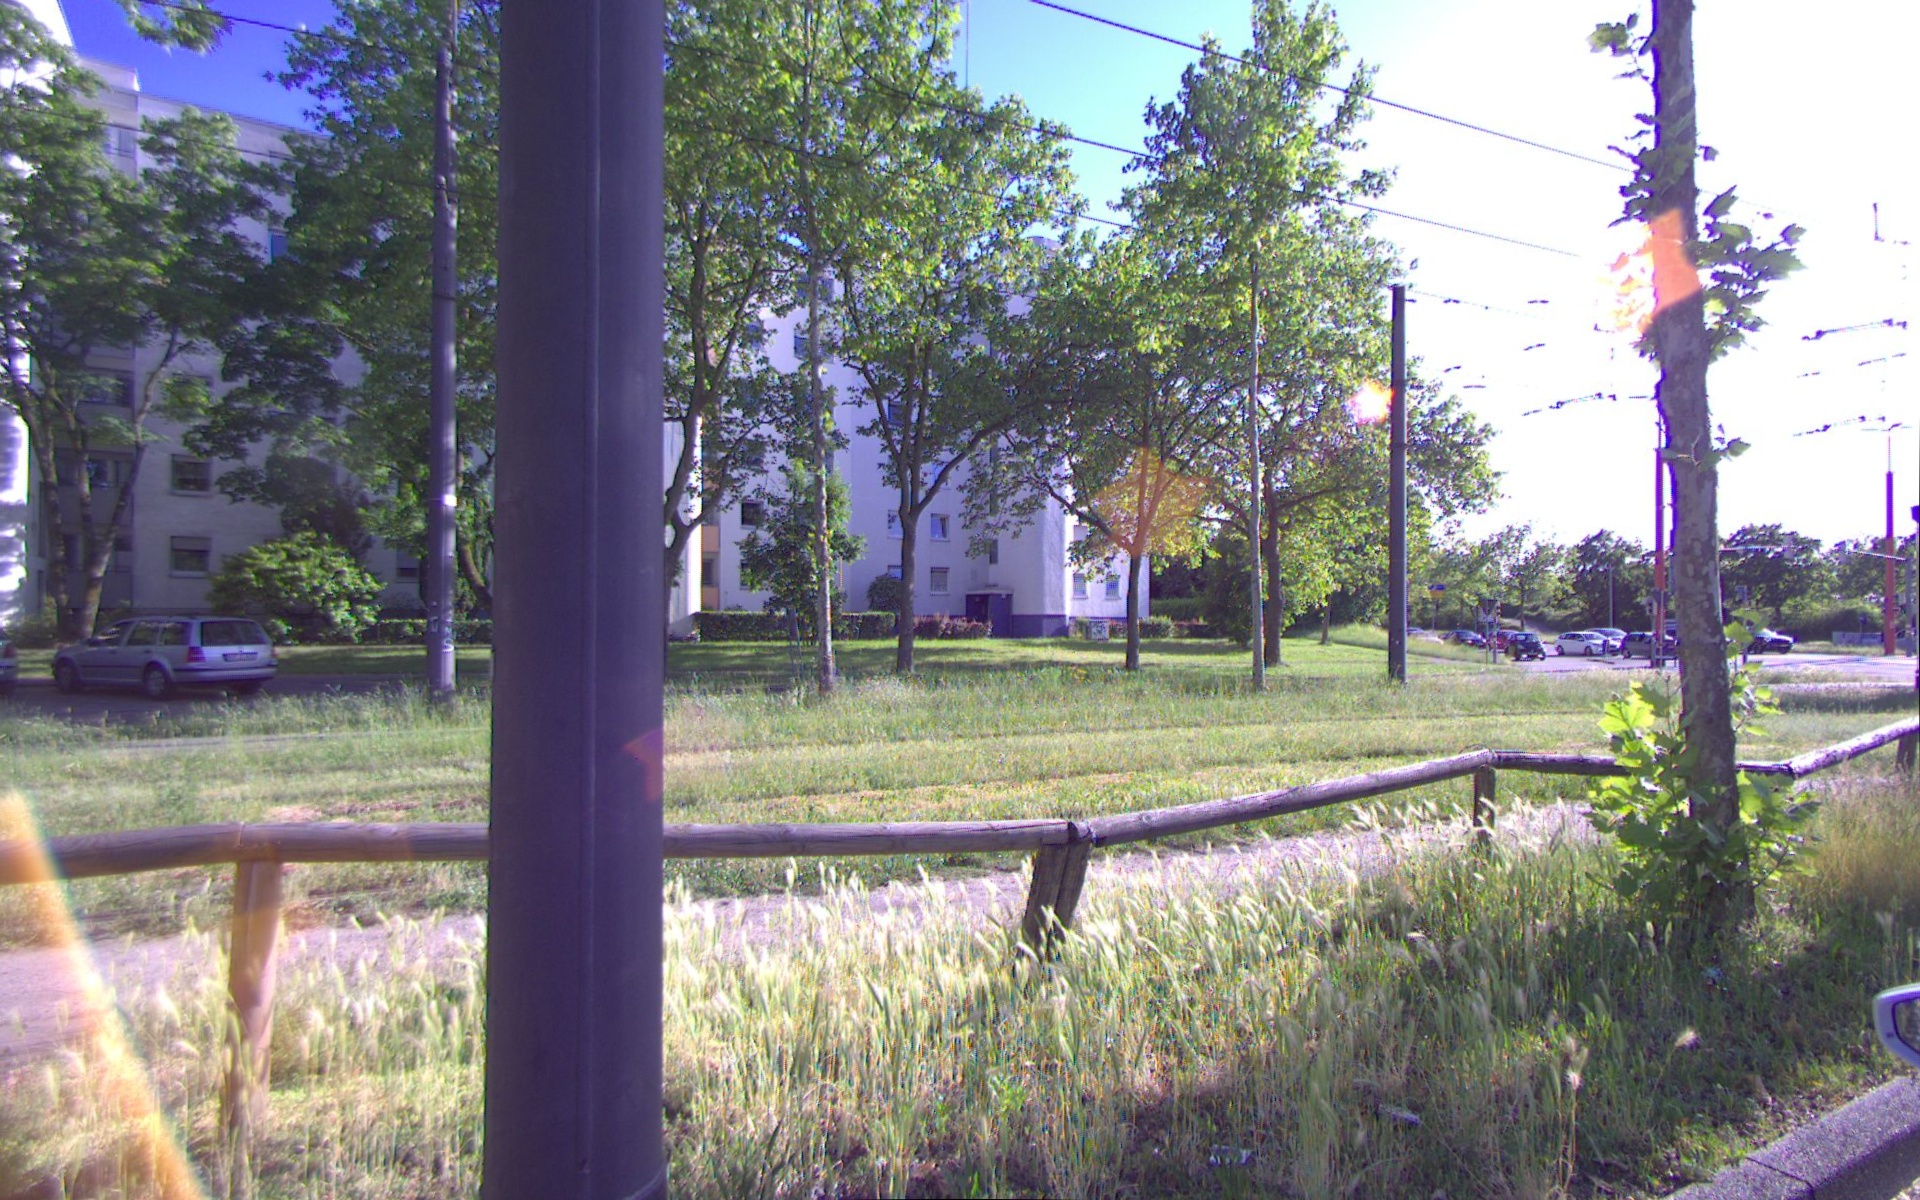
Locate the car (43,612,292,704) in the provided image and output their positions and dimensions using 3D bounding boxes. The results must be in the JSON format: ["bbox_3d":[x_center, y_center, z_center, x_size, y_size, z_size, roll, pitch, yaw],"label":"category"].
[{"bbox_3d":[-14.592,1.007,18.519,3.898,1.462,1.710,1,0,18],"label":"car"}]

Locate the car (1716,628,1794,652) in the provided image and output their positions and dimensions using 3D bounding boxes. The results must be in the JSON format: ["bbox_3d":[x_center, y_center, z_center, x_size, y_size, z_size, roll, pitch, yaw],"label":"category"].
[{"bbox_3d":[48.790,2.428,61.738,1.664,1.347,4.001,1,-1,2],"label":"car"}]

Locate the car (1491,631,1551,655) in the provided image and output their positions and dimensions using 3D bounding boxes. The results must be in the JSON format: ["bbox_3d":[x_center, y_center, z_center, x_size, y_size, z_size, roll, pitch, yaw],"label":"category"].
[{"bbox_3d":[38.569,2.937,69.180,1.699,1.533,3.998,1,-1,-4],"label":"car"}]

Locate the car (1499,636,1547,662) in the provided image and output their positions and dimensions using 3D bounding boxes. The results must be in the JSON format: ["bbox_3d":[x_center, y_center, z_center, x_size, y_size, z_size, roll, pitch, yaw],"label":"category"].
[{"bbox_3d":[32.190,2.793,57.525,1.768,1.409,2.850,0,-1,16],"label":"car"}]

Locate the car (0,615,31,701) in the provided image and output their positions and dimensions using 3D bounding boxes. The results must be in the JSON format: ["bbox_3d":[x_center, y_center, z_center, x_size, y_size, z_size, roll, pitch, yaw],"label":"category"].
[{"bbox_3d":[-17.931,0.956,17.110,3.547,1.439,1.576,1,0,18],"label":"car"}]

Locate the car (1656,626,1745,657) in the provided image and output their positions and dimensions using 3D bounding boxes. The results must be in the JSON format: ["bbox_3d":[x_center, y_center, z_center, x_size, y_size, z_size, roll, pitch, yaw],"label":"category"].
[{"bbox_3d":[42.528,2.343,57.803,1.962,1.666,3.997,1,-1,-5],"label":"car"}]

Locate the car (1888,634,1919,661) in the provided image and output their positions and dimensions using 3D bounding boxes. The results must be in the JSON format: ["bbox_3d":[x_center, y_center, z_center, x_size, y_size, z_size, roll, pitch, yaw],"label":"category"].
[{"bbox_3d":[63.551,3.168,65.944,1.648,1.677,3.651,2,0,-4],"label":"car"}]

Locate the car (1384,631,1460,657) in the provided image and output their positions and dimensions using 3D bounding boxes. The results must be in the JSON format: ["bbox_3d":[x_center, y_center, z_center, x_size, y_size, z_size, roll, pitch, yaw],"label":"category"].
[{"bbox_3d":[34.216,3.259,74.476,4.777,1.754,1.989,0,-1,43],"label":"car"}]

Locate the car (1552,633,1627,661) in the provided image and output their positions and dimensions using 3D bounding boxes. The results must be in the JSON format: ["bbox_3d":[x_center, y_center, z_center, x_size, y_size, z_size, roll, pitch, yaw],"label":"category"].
[{"bbox_3d":[39.019,2.883,62.423,1.833,1.633,4.185,1,-1,-4],"label":"car"}]
